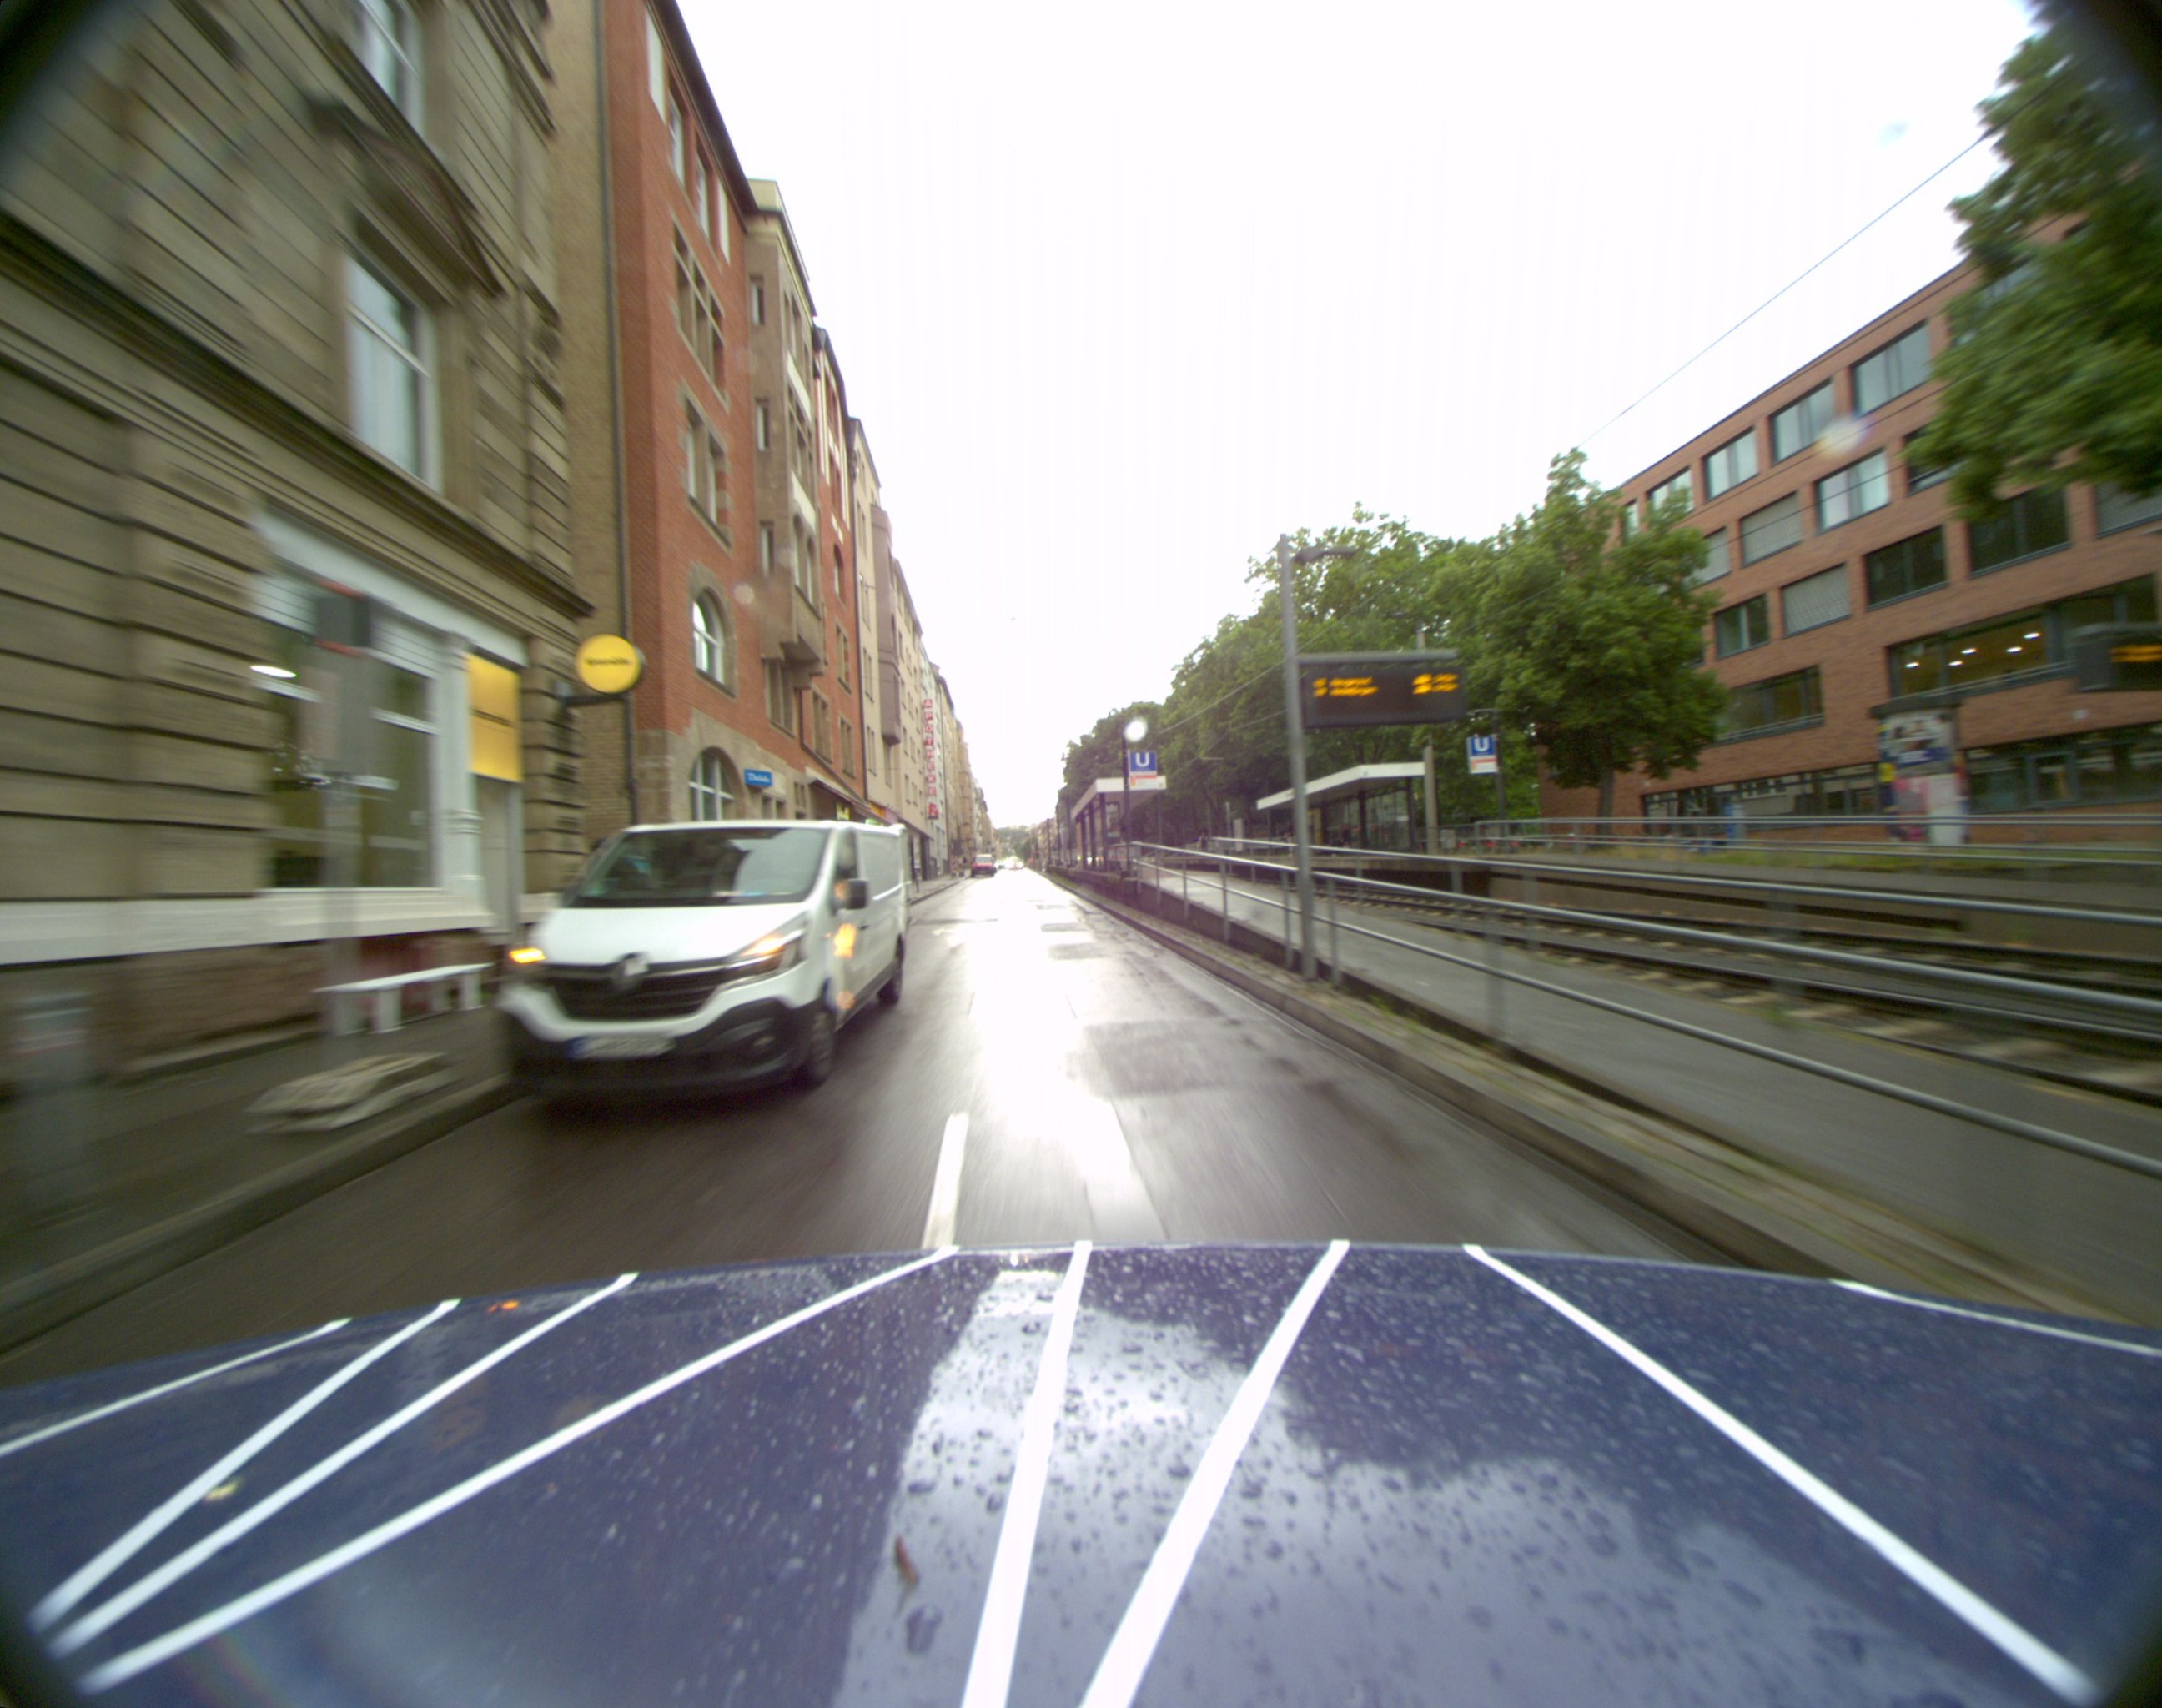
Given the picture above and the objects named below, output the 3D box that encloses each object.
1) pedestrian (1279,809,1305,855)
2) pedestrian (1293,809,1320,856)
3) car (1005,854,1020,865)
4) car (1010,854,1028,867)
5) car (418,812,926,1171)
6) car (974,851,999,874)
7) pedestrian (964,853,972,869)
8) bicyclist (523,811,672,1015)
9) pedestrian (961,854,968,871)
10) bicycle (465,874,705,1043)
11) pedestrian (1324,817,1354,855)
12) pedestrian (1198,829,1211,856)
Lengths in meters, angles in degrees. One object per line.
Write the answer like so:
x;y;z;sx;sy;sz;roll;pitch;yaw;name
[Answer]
9.775;-1.003;35.189;0.837;2.050;0.883;-2;1;-9;pedestrian
10.064;-0.969;33.934;0.837;2.050;0.883;-2;1;-9;pedestrian
-9.158;0.720;101.831;1.885;1.439;3.997;-2;1;-6;car
-7.377;0.751;90.037;1.885;1.439;3.997;-2;1;-6;car
-2.871;0.737;7.236;1.826;1.893;5.988;-3;1;-4;car
-7.917;0.687;63.625;1.885;1.838;3.996;-2;1;-9;car
-12.798;0.779;86.030;0.677;1.780;0.702;-1;1;-16;pedestrian
-5.762;0.654;9.156;0.921;2.250;1.287;-2;1;-4;bicyclist
-12.554;0.933;82.064;0.677;1.780;0.703;-1;1;-5;pedestrian
-5.727;1.079;9.164;0.937;1.546;3.133;-3;1;-4;bicycle
10.304;-0.695;30.343;0.782;1.474;0.883;-2;1;-9;pedestrian
8.427;-0.768;51.730;0.677;1.780;0.703;-1;1;-5;pedestrian
